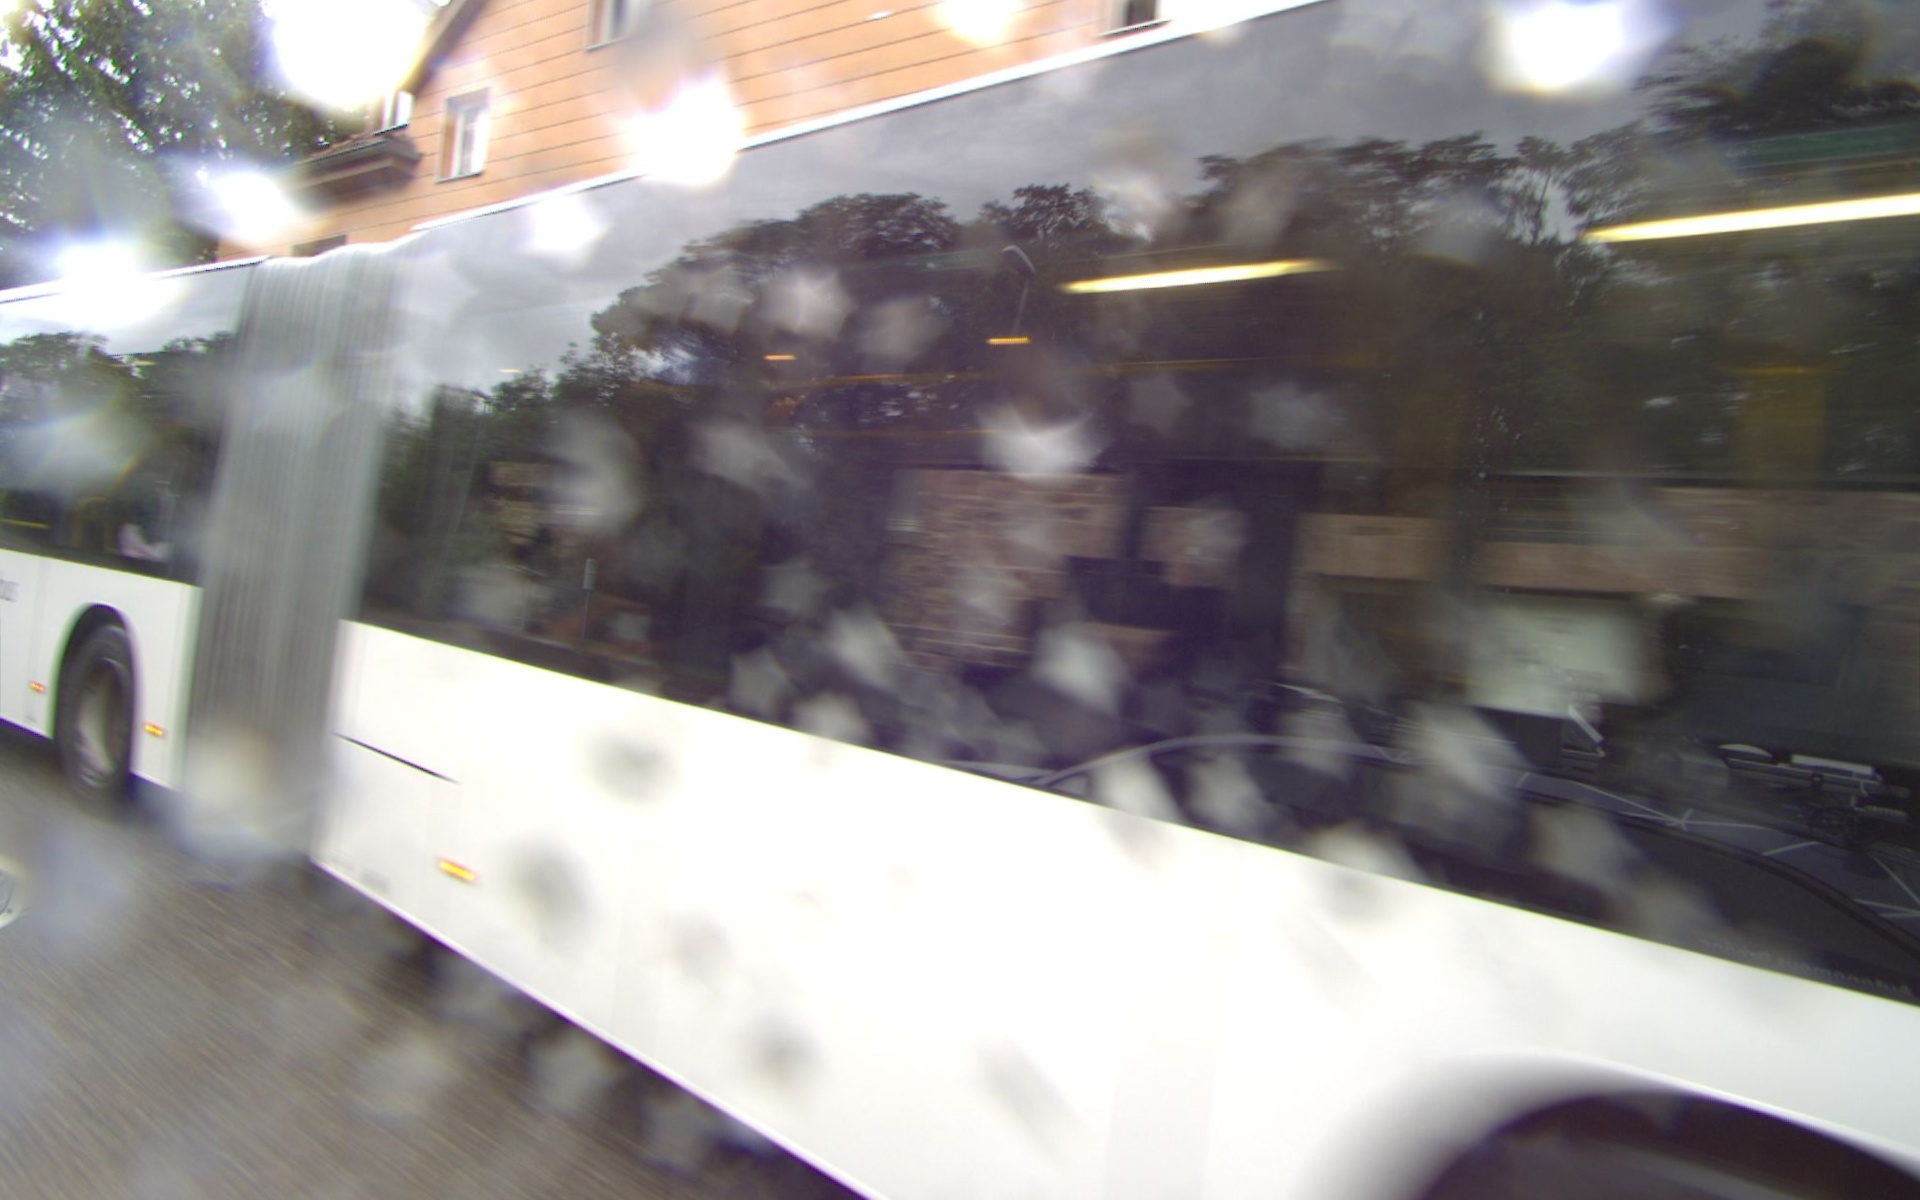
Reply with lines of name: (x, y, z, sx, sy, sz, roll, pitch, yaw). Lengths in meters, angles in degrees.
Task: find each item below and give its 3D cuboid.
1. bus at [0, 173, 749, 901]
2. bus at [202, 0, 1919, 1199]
bus: (-6.115, -0.652, 7.578, 9.290, 2.995, 2.561, 7, 0, 30)
bus: (1.094, 0.263, 2.759, 8.425, 2.995, 2.556, 7, 0, 36)
